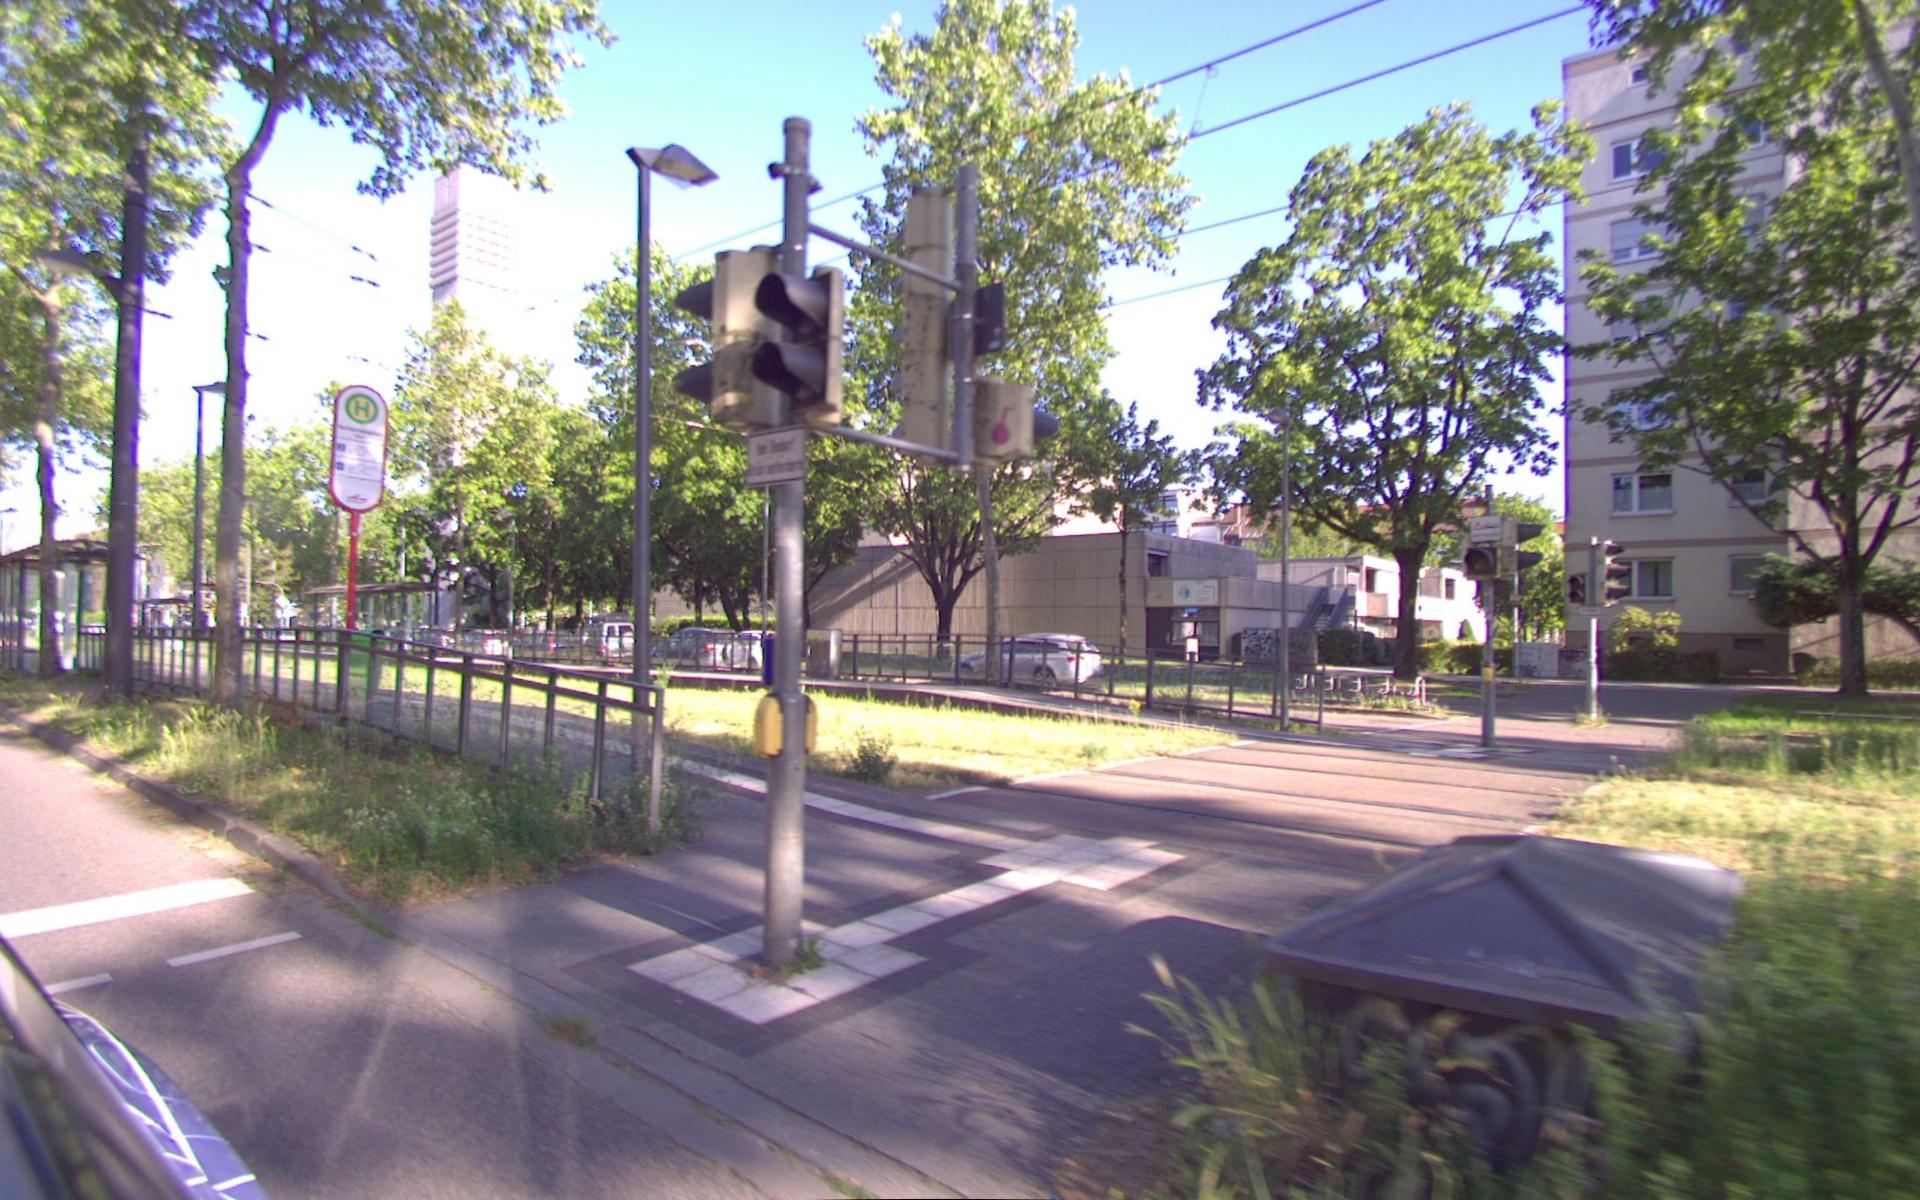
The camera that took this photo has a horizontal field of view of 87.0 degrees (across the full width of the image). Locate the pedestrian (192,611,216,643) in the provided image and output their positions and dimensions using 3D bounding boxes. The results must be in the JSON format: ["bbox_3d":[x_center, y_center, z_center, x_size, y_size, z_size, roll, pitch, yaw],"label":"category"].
[{"bbox_3d":[-41.070,1.450,54.990,0.754,1.702,0.873,-1,-2,42],"label":"pedestrian"}]

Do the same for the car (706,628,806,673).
[{"bbox_3d":[-7.555,1.833,37.330,3.934,1.557,1.694,-2,-3,44],"label":"car"}]

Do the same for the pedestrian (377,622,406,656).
[{"bbox_3d":[-21.265,1.450,37.861,0.825,1.270,0.802,0,-1,-20],"label":"pedestrian"}]

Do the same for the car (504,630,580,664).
[{"bbox_3d":[-19.398,2.132,46.889,4.017,1.500,1.577,-1,-3,41],"label":"car"}]

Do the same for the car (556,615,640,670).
[{"bbox_3d":[-15.718,1.812,43.891,3.931,2.279,1.696,-1,-3,41],"label":"car"}]

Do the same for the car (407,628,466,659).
[{"bbox_3d":[-28.821,2.369,55.672,3.929,1.645,1.577,-1,-3,42],"label":"car"}]

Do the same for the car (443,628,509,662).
[{"bbox_3d":[-24.696,2.284,51.623,3.928,1.648,1.577,-1,-3,41],"label":"car"}]

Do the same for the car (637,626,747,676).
[{"bbox_3d":[-8.924,1.648,33.509,3.934,1.557,1.695,-1,-3,43],"label":"car"}]

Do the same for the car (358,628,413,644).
[{"bbox_3d":[-57.849,3.615,101.940,1.999,1.498,4.467,-1,-3,41],"label":"car"}]

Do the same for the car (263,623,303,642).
[{"bbox_3d":[-44.500,2.120,66.499,3.374,1.251,1.249,-1,-3,40],"label":"car"}]

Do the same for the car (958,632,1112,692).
[{"bbox_3d":[2.066,1.699,28.665,4.200,1.557,1.695,-1,-3,43],"label":"car"}]

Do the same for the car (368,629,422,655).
[{"bbox_3d":[-32.981,2.433,59.064,3.929,1.455,1.577,-1,-3,42],"label":"car"}]

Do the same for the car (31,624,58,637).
[{"bbox_3d":[-94.604,3.139,104.569,3.410,1.335,1.313,-1,-2,35],"label":"car"}]

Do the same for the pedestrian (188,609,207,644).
[{"bbox_3d":[-41.845,1.461,55.521,0.636,1.881,0.712,-1,-2,42],"label":"pedestrian"}]

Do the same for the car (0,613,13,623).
[{"bbox_3d":[-161.651,2.987,170.738,5.400,1.720,2.116,-1,-2,42],"label":"car"}]
